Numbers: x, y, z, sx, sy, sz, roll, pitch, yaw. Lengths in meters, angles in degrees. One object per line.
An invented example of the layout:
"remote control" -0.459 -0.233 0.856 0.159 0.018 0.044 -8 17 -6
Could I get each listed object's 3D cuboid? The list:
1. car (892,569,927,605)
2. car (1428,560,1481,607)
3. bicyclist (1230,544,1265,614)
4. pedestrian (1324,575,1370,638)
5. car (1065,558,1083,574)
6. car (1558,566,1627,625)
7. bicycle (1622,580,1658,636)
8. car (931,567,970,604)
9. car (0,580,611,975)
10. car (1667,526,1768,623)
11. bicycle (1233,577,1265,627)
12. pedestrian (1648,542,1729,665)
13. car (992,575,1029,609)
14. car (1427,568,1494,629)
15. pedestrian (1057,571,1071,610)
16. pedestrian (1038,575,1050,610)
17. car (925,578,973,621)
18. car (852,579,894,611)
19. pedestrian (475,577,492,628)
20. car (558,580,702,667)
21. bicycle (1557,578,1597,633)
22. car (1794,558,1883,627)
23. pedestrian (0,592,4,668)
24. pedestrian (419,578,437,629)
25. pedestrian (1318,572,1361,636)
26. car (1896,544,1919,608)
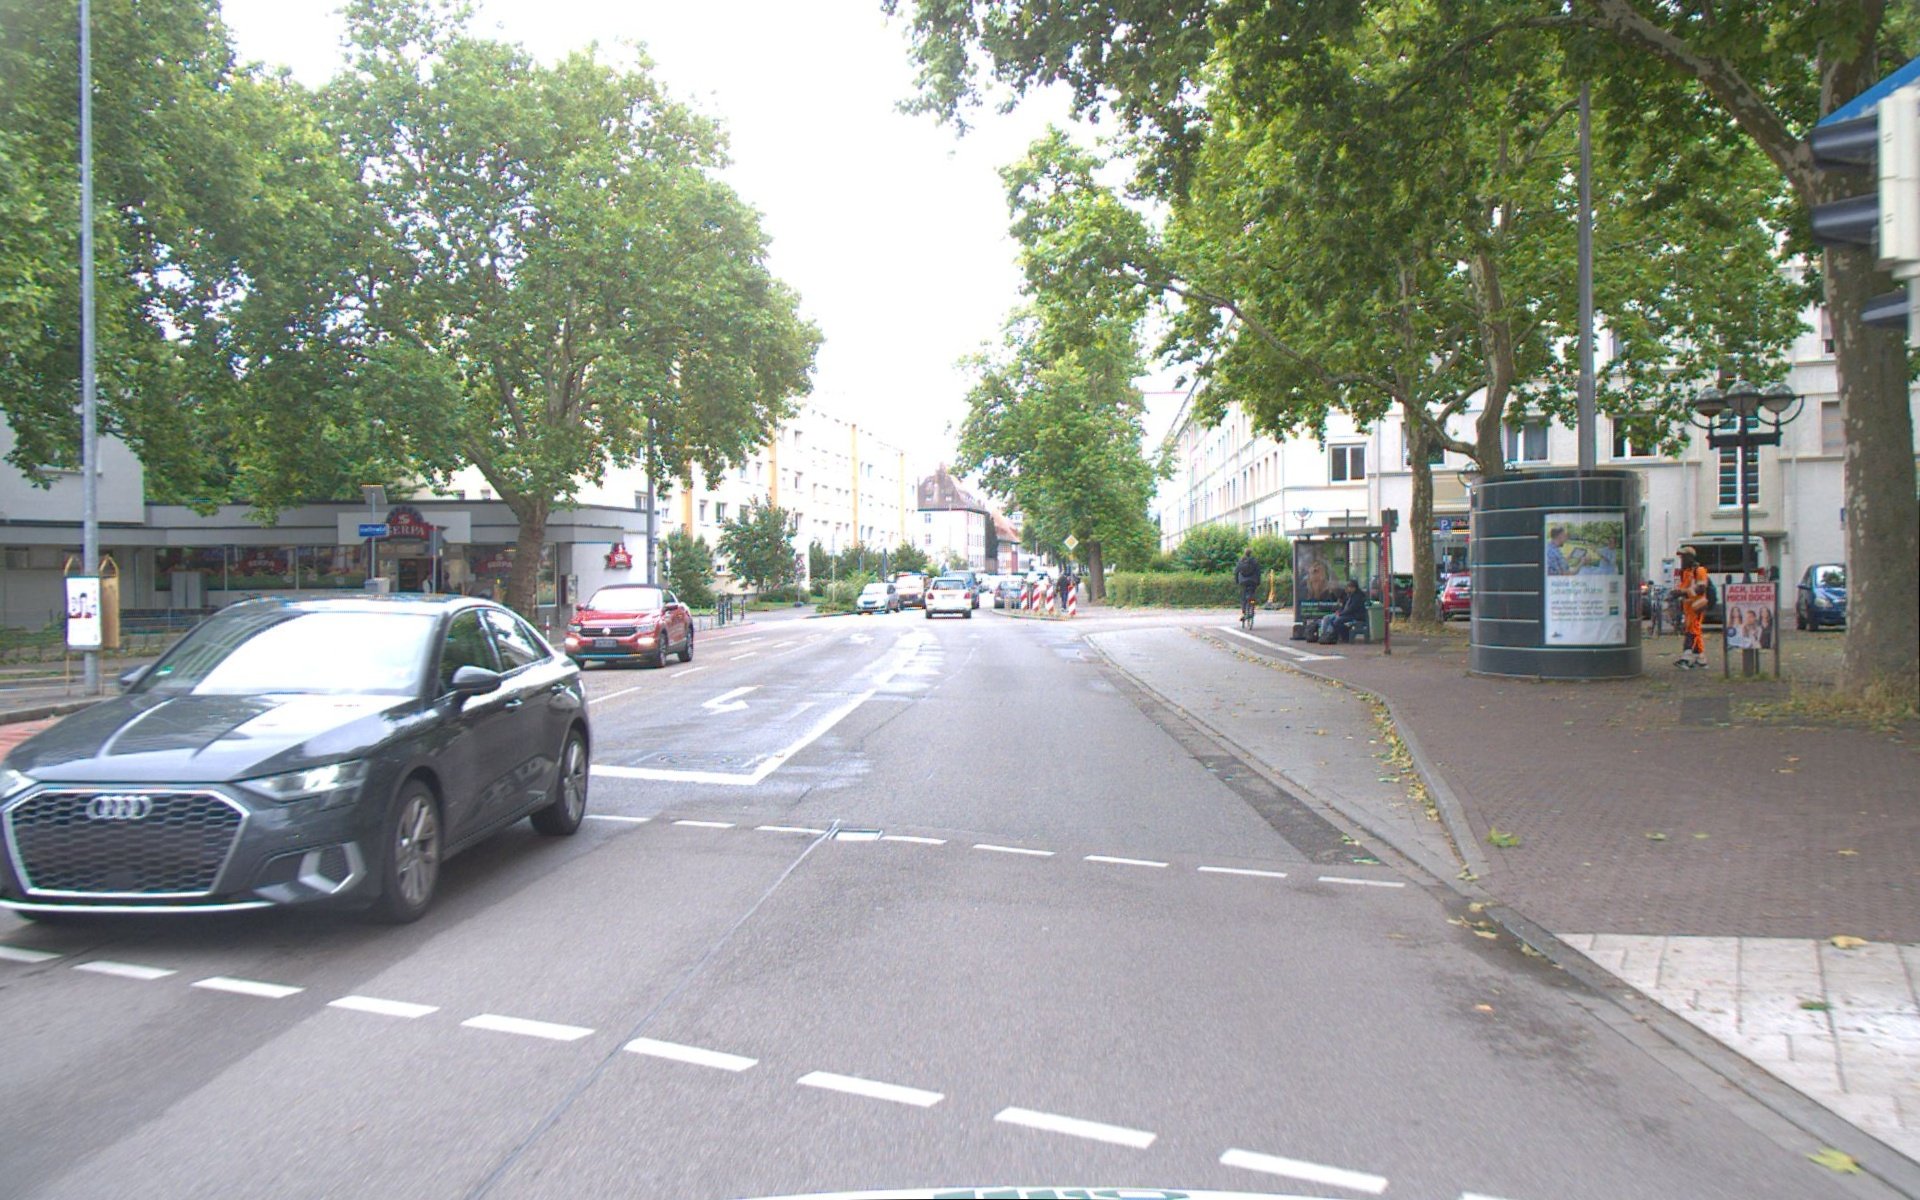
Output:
"car" -2.801 -0.752 92.487 1.731 1.945 4.001 -1 1 2
"car" 16.198 -0.560 54.078 1.483 1.453 4.002 -1 1 19
"bicyclist" 7.562 -0.554 43.519 0.745 1.789 0.820 -1 1 -3
"pedestrian" 8.444 0.135 36.093 0.835 1.337 0.763 -1 1 1
"car" 14.722 -4.407 213.729 1.953 2.049 4.000 0 1 0
"car" 16.259 -0.143 42.609 1.483 1.453 4.002 -1 1 19
"bicycle" 15.415 0.164 37.473 0.610 1.188 2.331 -1 1 26
"car" -0.504 -0.801 87.505 1.953 1.880 4.000 -1 1 0
"car" -3.169 0.657 8.465 1.771 1.452 4.318 -1 1 1
"car" 18.566 -0.636 40.546 2.131 2.239 3.997 -1 1 25
"bicycle" 7.540 0.028 43.255 0.409 1.264 1.926 -1 1 -2
"pedestrian" 10.754 0.043 24.448 0.768 1.774 0.925 -1 1 0
"car" 2.534 -0.435 83.724 1.778 1.619 4.001 -1 1 1
"car" 12.780 -0.076 42.113 1.483 1.453 4.002 -1 1 19
"pedestrian" 4.549 -0.413 72.254 0.539 1.714 0.570 -1 0 0
"pedestrian" 3.677 -0.339 72.447 0.505 1.521 0.511 -1 0 0
"car" -0.419 -0.049 66.721 1.778 1.619 4.001 -1 1 1
"car" -4.334 -0.254 82.731 1.731 1.512 4.001 -1 1 2
"pedestrian" -16.096 0.073 55.841 0.507 1.710 0.509 -1 1 -16
"car" -6.210 0.390 31.586 1.815 1.478 4.168 -1 1 1
"bicycle" 14.119 0.116 37.813 0.610 1.188 2.331 -1 1 26
"car" 21.085 -0.203 39.787 1.761 1.570 3.823 0 1 26
"pedestrian" -20.067 0.631 33.942 0.412 1.572 0.622 -1 1 24
"pedestrian" -17.845 0.117 55.510 0.501 1.710 0.515 -1 0 -15
"pedestrian" 8.489 0.085 37.008 0.801 1.396 0.763 -1 1 1
"car" 23.601 -0.601 39.689 1.761 1.465 3.823 0 1 26
